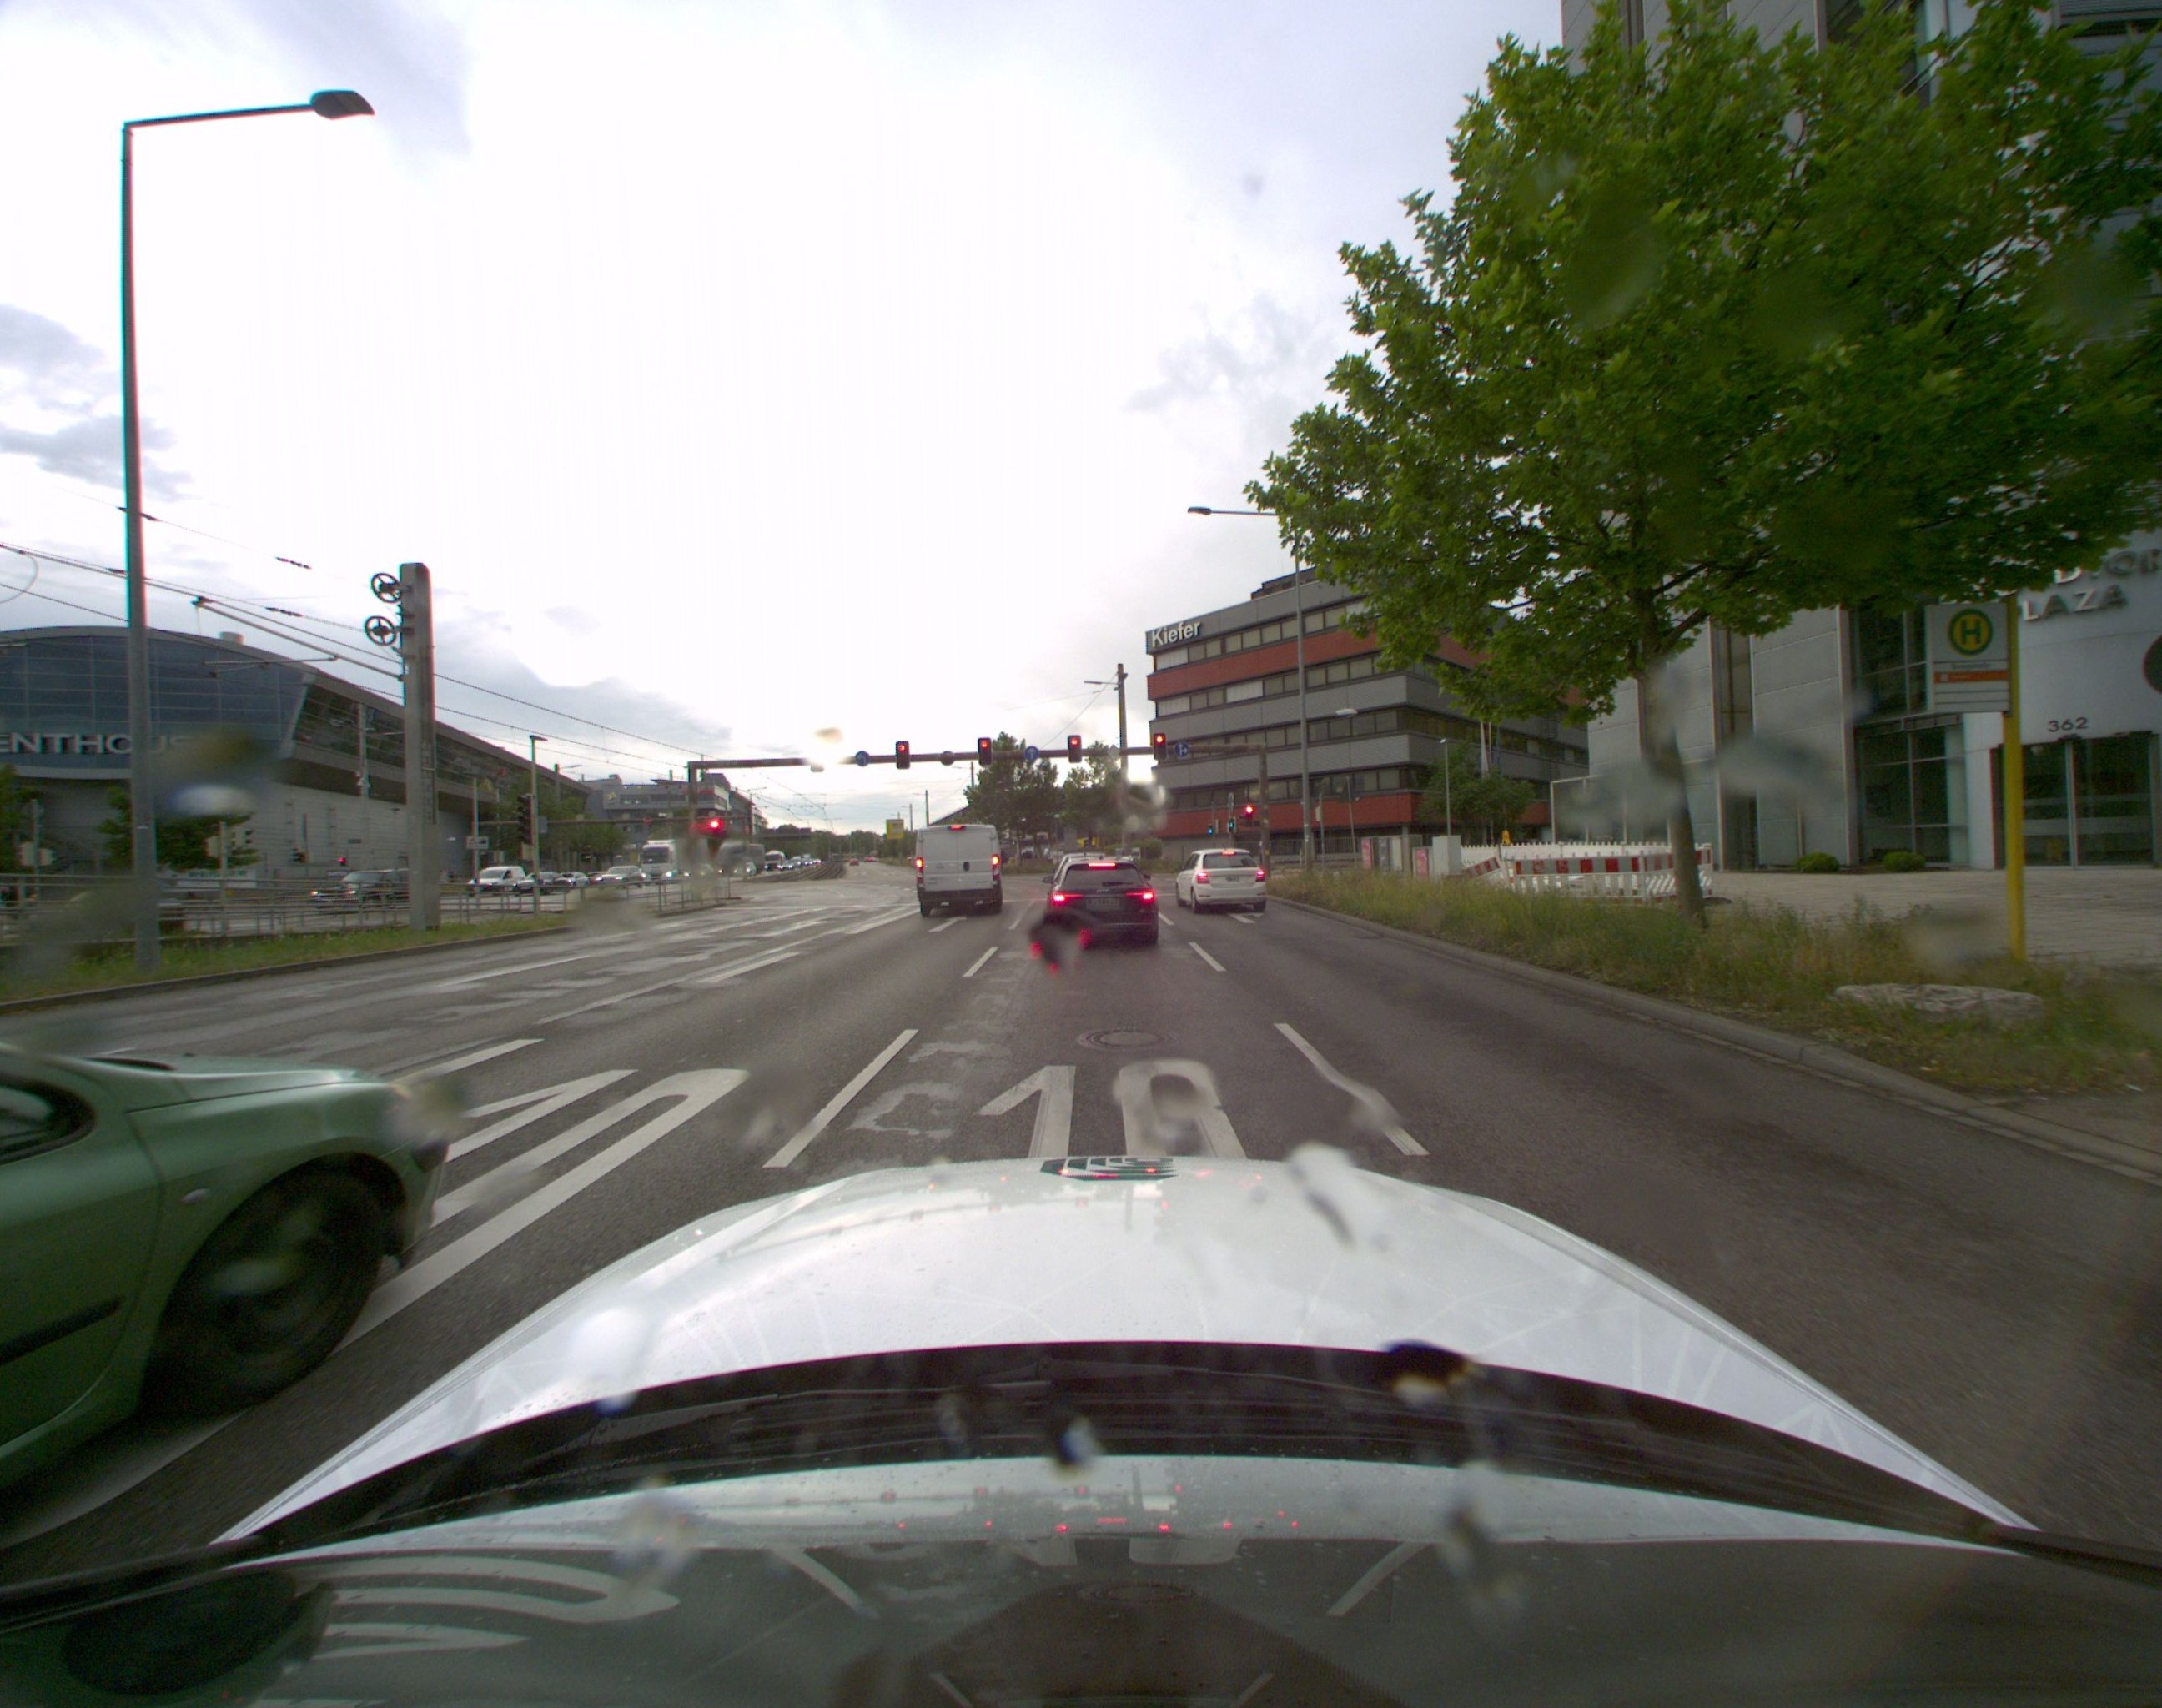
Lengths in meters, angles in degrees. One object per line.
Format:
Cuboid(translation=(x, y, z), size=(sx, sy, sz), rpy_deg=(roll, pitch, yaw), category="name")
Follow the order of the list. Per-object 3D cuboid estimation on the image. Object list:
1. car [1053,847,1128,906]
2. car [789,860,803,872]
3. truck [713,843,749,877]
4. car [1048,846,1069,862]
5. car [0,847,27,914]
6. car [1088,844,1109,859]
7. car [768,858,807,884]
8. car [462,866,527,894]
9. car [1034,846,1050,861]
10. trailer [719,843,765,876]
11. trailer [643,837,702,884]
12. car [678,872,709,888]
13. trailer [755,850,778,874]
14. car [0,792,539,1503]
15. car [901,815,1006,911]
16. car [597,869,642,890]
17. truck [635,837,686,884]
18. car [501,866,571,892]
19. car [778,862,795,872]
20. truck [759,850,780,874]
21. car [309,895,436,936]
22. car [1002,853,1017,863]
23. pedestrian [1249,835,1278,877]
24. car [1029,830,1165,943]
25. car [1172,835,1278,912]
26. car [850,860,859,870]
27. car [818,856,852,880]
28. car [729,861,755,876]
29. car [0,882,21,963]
Cuboid(translation=(0.319, 0.595, 22.781), size=(1.886, 1.465, 3.911), rpy_deg=(-2, -1, 2), category="car")
Cuboid(translation=(-50.475, 2.135, 144.337), size=(1.998, 1.837, 4.882), rpy_deg=(1, 1, -16), category="car")
Cuboid(translation=(-44.677, 0.756, 104.137), size=(2.666, 4.130, 6.165), rpy_deg=(-2, -1, -9), category="truck")
Cuboid(translation=(-3.003, -0.008, 108.111), size=(1.996, 2.032, 3.981), rpy_deg=(-3, 0, -13), category="car")
Cuboid(translation=(-27.771, 0.641, 18.687), size=(1.523, 1.666, 4.268), rpy_deg=(0, -1, 0), category="car")
Cuboid(translation=(2.551, -0.341, 120.279), size=(1.876, 2.014, 3.748), rpy_deg=(1, -1, -20), category="car")
Cuboid(translation=(-23.738, 1.347, 65.972), size=(1.768, 2.013, 4.343), rpy_deg=(0, 0, -2), category="car")
Cuboid(translation=(-36.448, 1.589, 50.722), size=(1.571, 1.627, 4.069), rpy_deg=(0, -1, -9), category="car")
Cuboid(translation=(-5.631, -0.076, 116.886), size=(1.682, 2.014, 3.523), rpy_deg=(0, -1, -15), category="car")
Cuboid(translation=(-45.653, 0.792, 110.043), size=(2.649, 4.124, 12.703), rpy_deg=(-2, -1, -9), category="trailer")
Cuboid(translation=(-39.435, 0.572, 79.013), size=(2.800, 4.107, 11.381), rpy_deg=(-2, 0, -16), category="trailer")
Cuboid(translation=(-34.188, 2.281, 71.972), size=(1.913, 1.264, 4.386), rpy_deg=(0, -1, -19), category="car")
Cuboid(translation=(-54.925, 1.412, 142.040), size=(2.739, 3.854, 11.131), rpy_deg=(-3, -1, -26), category="trailer")
Cuboid(translation=(-3.086, 0.596, 1.092), size=(1.689, 1.468, 4.403), rpy_deg=(0, -1, 1), category="car")
Cuboid(translation=(-3.283, 0.249, 21.985), size=(2.441, 2.294, 4.895), rpy_deg=(0, -1, -5), category="car")
Cuboid(translation=(-33.410, 1.791, 59.047), size=(1.741, 1.462, 4.133), rpy_deg=(0, -1, -14), category="car")
Cuboid(translation=(-37.936, 0.553, 73.666), size=(2.837, 3.996, 5.955), rpy_deg=(-2, 0, -15), category="truck")
Cuboid(translation=(-32.471, 1.465, 48.621), size=(1.785, 1.503, 3.991), rpy_deg=(0, -1, -6), category="car")
Cuboid(translation=(-45.906, 2.045, 127.024), size=(1.904, 1.555, 4.548), rpy_deg=(0, -1, -11), category="car")
Cuboid(translation=(-52.432, 1.331, 136.842), size=(2.760, 3.805, 5.366), rpy_deg=(-3, -1, -25), category="truck")
Cuboid(translation=(-30.917, 2.619, 35.765), size=(1.675, 1.498, 4.920), rpy_deg=(0, -1, -7), category="car")
Cuboid(translation=(-12.252, 0.772, 139.609), size=(1.796, 1.591, 3.976), rpy_deg=(-2, 0, -17), category="car")
Cuboid(translation=(9.574, 0.079, 42.790), size=(1.140, 2.125, 1.222), rpy_deg=(-3, 1, 0), category="pedestrian")
Cuboid(translation=(0.281, 0.523, 14.257), size=(1.987, 1.637, 4.000), rpy_deg=(-2, -1, 1), category="car")
Cuboid(translation=(3.401, 0.453, 19.960), size=(1.823, 1.656, 3.998), rpy_deg=(-1, -1, -1), category="car")
Cuboid(translation=(-48.087, 2.344, 173.018), size=(1.775, 2.014, 4.326), rpy_deg=(0, -1, -14), category="car")
Cuboid(translation=(-21.494, 1.219, 71.258), size=(1.768, 2.013, 4.343), rpy_deg=(0, 0, -2), category="car")
Cuboid(translation=(-39.230, 1.660, 94.360), size=(1.887, 1.652, 4.080), rpy_deg=(0, -1, -10), category="car")
Cuboid(translation=(-27.937, 1.689, 18.608), size=(1.768, 2.014, 4.343), rpy_deg=(0, -1, -2), category="car")
